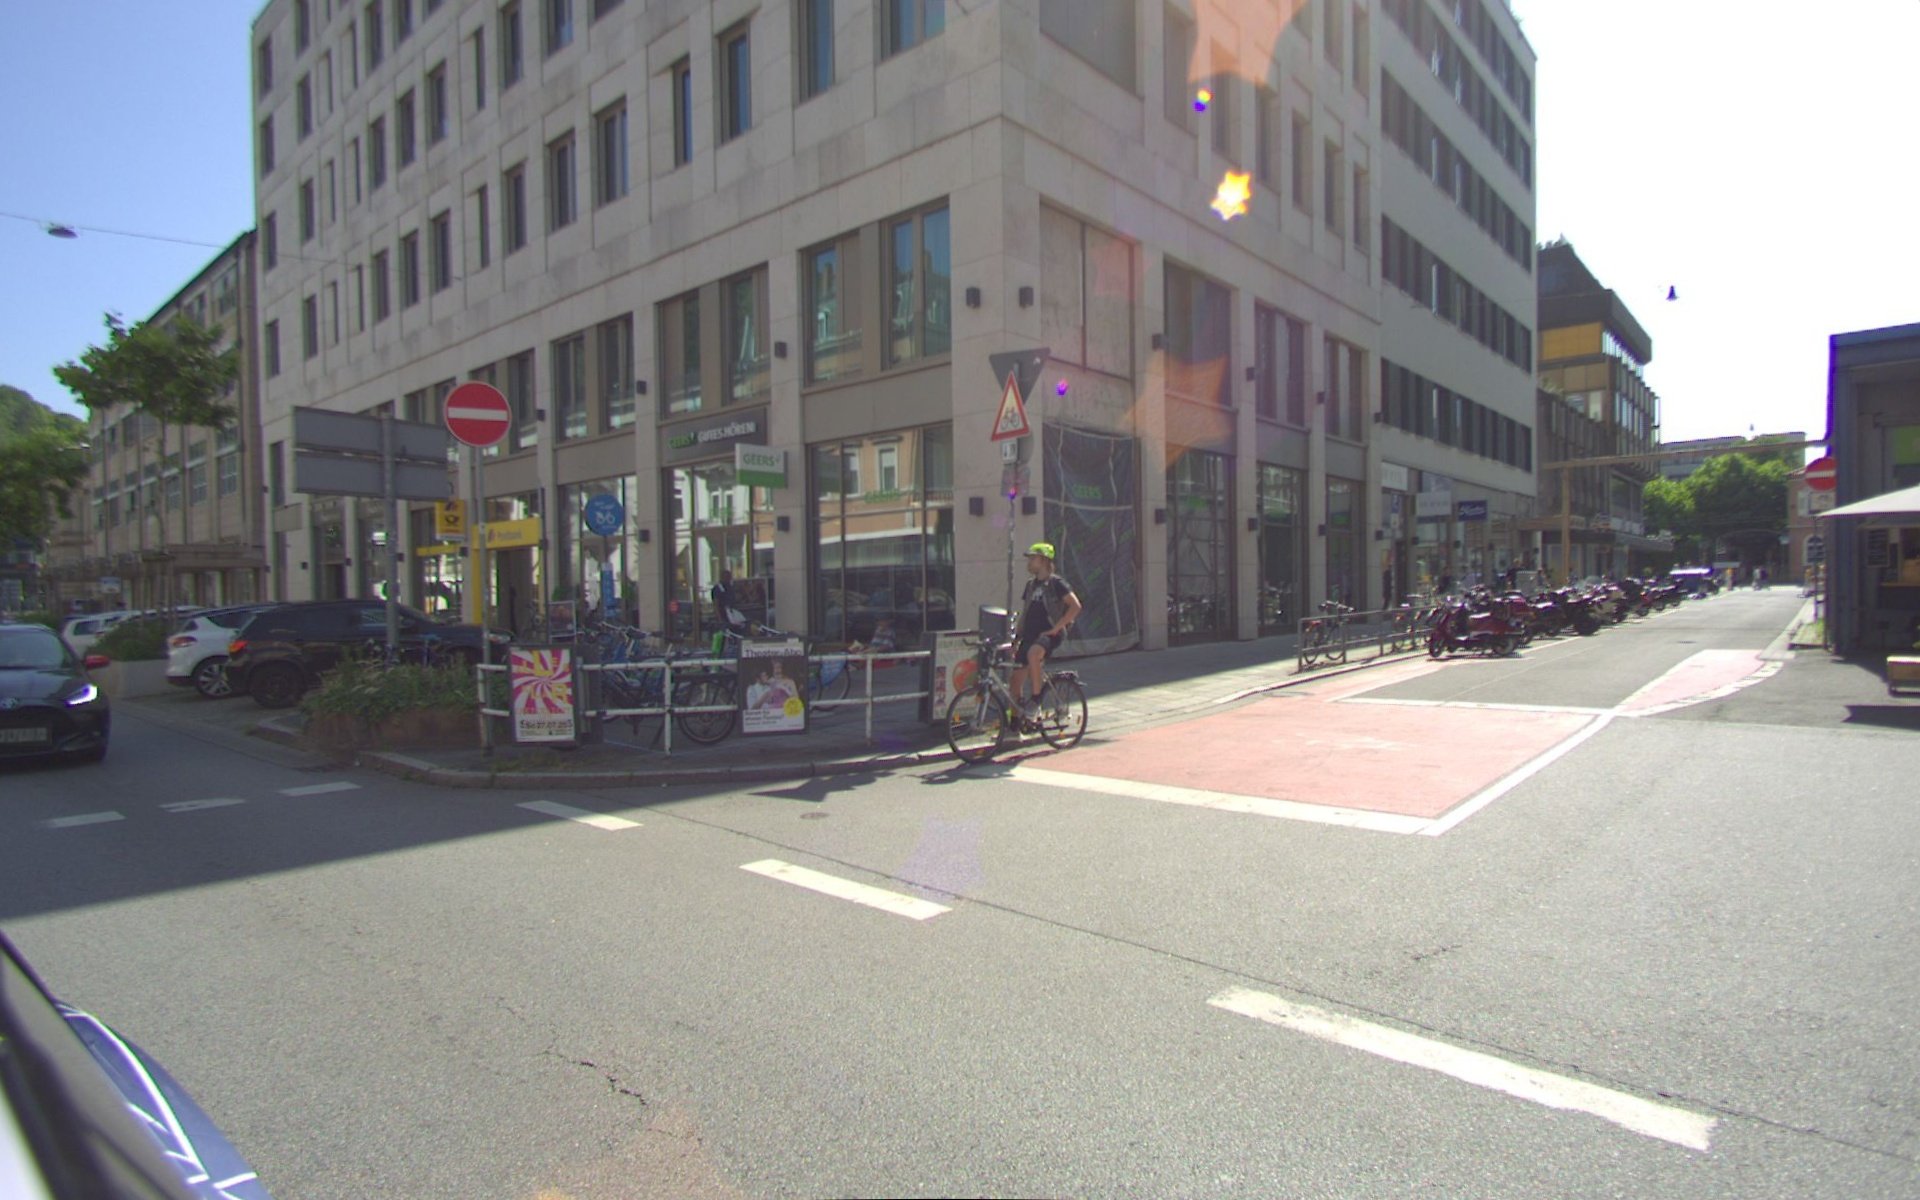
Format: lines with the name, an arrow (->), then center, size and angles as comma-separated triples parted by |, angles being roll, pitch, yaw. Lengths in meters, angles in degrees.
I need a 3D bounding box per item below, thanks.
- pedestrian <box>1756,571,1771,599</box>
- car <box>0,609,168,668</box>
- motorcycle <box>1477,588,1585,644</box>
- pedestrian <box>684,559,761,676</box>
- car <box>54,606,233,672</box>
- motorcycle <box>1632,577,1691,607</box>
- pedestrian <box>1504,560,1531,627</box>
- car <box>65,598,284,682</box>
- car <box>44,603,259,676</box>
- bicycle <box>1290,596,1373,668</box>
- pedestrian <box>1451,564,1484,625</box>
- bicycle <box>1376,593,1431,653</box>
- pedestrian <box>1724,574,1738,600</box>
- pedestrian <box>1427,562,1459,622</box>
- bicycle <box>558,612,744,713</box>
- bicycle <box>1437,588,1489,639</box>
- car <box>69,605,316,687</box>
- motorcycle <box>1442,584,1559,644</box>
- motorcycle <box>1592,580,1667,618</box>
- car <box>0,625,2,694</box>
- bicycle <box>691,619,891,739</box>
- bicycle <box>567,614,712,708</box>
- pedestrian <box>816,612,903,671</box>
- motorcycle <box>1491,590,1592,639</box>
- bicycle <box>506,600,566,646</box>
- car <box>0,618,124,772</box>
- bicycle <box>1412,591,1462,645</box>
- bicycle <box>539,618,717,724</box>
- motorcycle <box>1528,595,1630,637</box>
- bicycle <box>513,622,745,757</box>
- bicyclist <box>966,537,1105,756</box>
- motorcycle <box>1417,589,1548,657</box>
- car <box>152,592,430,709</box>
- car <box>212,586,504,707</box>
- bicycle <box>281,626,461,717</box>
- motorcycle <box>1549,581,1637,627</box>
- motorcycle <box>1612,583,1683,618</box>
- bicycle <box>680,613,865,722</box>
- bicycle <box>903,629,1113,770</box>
pedestrian -> 55.474, -1.009, 69.876 | 0.767, 1.890, 0.658 | -1, 0, 42
car -> -30.226, 1.288, 34.620 | 4.455, 1.515, 1.798 | -5, 4, -18
motorcycle -> 13.057, 0.361, 23.173 | 2.039, 1.182, 0.604 | -2, 1, 7
pedestrian -> -4.082, 0.284, 17.394 | 0.844, 1.892, 0.830 | -1, 4, 42
car -> -24.923, 1.130, 31.002 | 1.819, 1.539, 3.947 | 1, 5, 41
motorcycle -> 29.191, -0.330, 42.127 | 1.854, 1.182, 0.702 | -2, 1, 20
pedestrian -> 19.515, -0.234, 35.418 | 0.667, 2.309, 0.757 | -1, 0, 42
car -> -20.324, 0.983, 26.388 | 3.971, 1.604, 1.825 | -6, 4, -15
car -> -22.835, 1.063, 28.839 | 4.426, 1.442, 1.869 | -7, 4, -29
bicycle -> 6.532, 0.533, 17.746 | 0.640, 1.135, 2.036 | 3, 3, 41
pedestrian -> 15.033, -0.170, 29.978 | 0.667, 1.771, 0.757 | -1, 0, 42
bicycle -> 9.099, 0.448, 20.717 | 0.454, 1.135, 2.037 | 4, 3, 39
pedestrian -> 57.225, -0.979, 75.123 | 0.767, 1.890, 0.658 | -1, 0, 42
pedestrian -> 14.519, -0.247, 30.447 | 0.667, 1.771, 0.757 | -1, 0, 42
bicycle -> -4.130, 0.807, 13.600 | 2.289, 1.135, 0.564 | -4, 2, -24
bicycle -> 12.162, 0.307, 24.437 | 0.570, 1.117, 2.036 | -2, 1, 41
car -> -18.090, 1.043, 24.074 | 4.247, 1.460, 1.792 | -4, 2, -15
motorcycle -> 11.578, 0.307, 21.727 | 2.039, 1.182, 0.653 | -2, -1, 7
motorcycle -> 22.371, -0.033, 33.844 | 2.034, 1.182, 0.708 | -3, 1, -3
car -> -21.490, 1.249, 21.251 | 4.106, 1.407, 1.711 | -1, 0, 43
bicycle -> -1.789, 0.809, 10.743 | 2.030, 1.178, 0.607 | -1, 0, -11
bicycle -> -4.449, 0.817, 14.080 | 1.834, 1.135, 0.486 | -4, 1, -24
pedestrian -> -1.721, 0.694, 17.375 | 0.841, 0.932, 1.237 | -1, 0, 40
motorcycle -> 13.991, 0.348, 24.385 | 2.036, 1.075, 0.605 | -3, 1, 1
bicycle -> -10.900, 0.584, 25.999 | 2.160, 1.115, 0.490 | -1, 2, 42
car -> -10.790, 0.990, 11.177 | 4.105, 1.489, 1.843 | -3, -3, 42
bicycle -> 10.743, 0.390, 22.757 | 0.454, 1.135, 2.036 | -2, 0, 41
bicycle -> -4.164, 0.857, 12.737 | 2.029, 1.135, 0.564 | -4, 1, -24
motorcycle -> 15.614, 0.397, 25.583 | 2.040, 0.946, 0.705 | -2, 1, 9
bicycle -> -3.182, 0.851, 9.870 | 2.034, 1.182, 0.606 | -2, 1, -3
bicyclist -> 0.723, 0.416, 9.758 | 0.831, 1.974, 1.018 | -1, 0, -42
motorcycle -> 9.875, 0.447, 19.211 | 2.045, 1.182, 0.654 | -3, -2, 16
car -> -12.641, 0.847, 19.236 | 4.107, 1.648, 2.106 | -7, 4, -40
car -> -9.957, 0.692, 17.131 | 3.965, 1.614, 1.965 | -4, 3, -25
bicycle -> -8.145, 0.958, 14.092 | 0.485, 1.135, 2.117 | -3, -2, 43
motorcycle -> 17.873, 0.108, 28.604 | 2.034, 1.205, 0.707 | -2, 1, -2
motorcycle -> 24.608, 0.013, 36.244 | 2.034, 1.182, 0.708 | -3, 1, -3
bicycle -> -2.212, 0.766, 11.989 | 2.029, 1.135, 0.649 | -2, 0, -22
bicycle -> 0.488, 0.881, 9.617 | 1.962, 1.135, 0.800 | -2, -1, -41
